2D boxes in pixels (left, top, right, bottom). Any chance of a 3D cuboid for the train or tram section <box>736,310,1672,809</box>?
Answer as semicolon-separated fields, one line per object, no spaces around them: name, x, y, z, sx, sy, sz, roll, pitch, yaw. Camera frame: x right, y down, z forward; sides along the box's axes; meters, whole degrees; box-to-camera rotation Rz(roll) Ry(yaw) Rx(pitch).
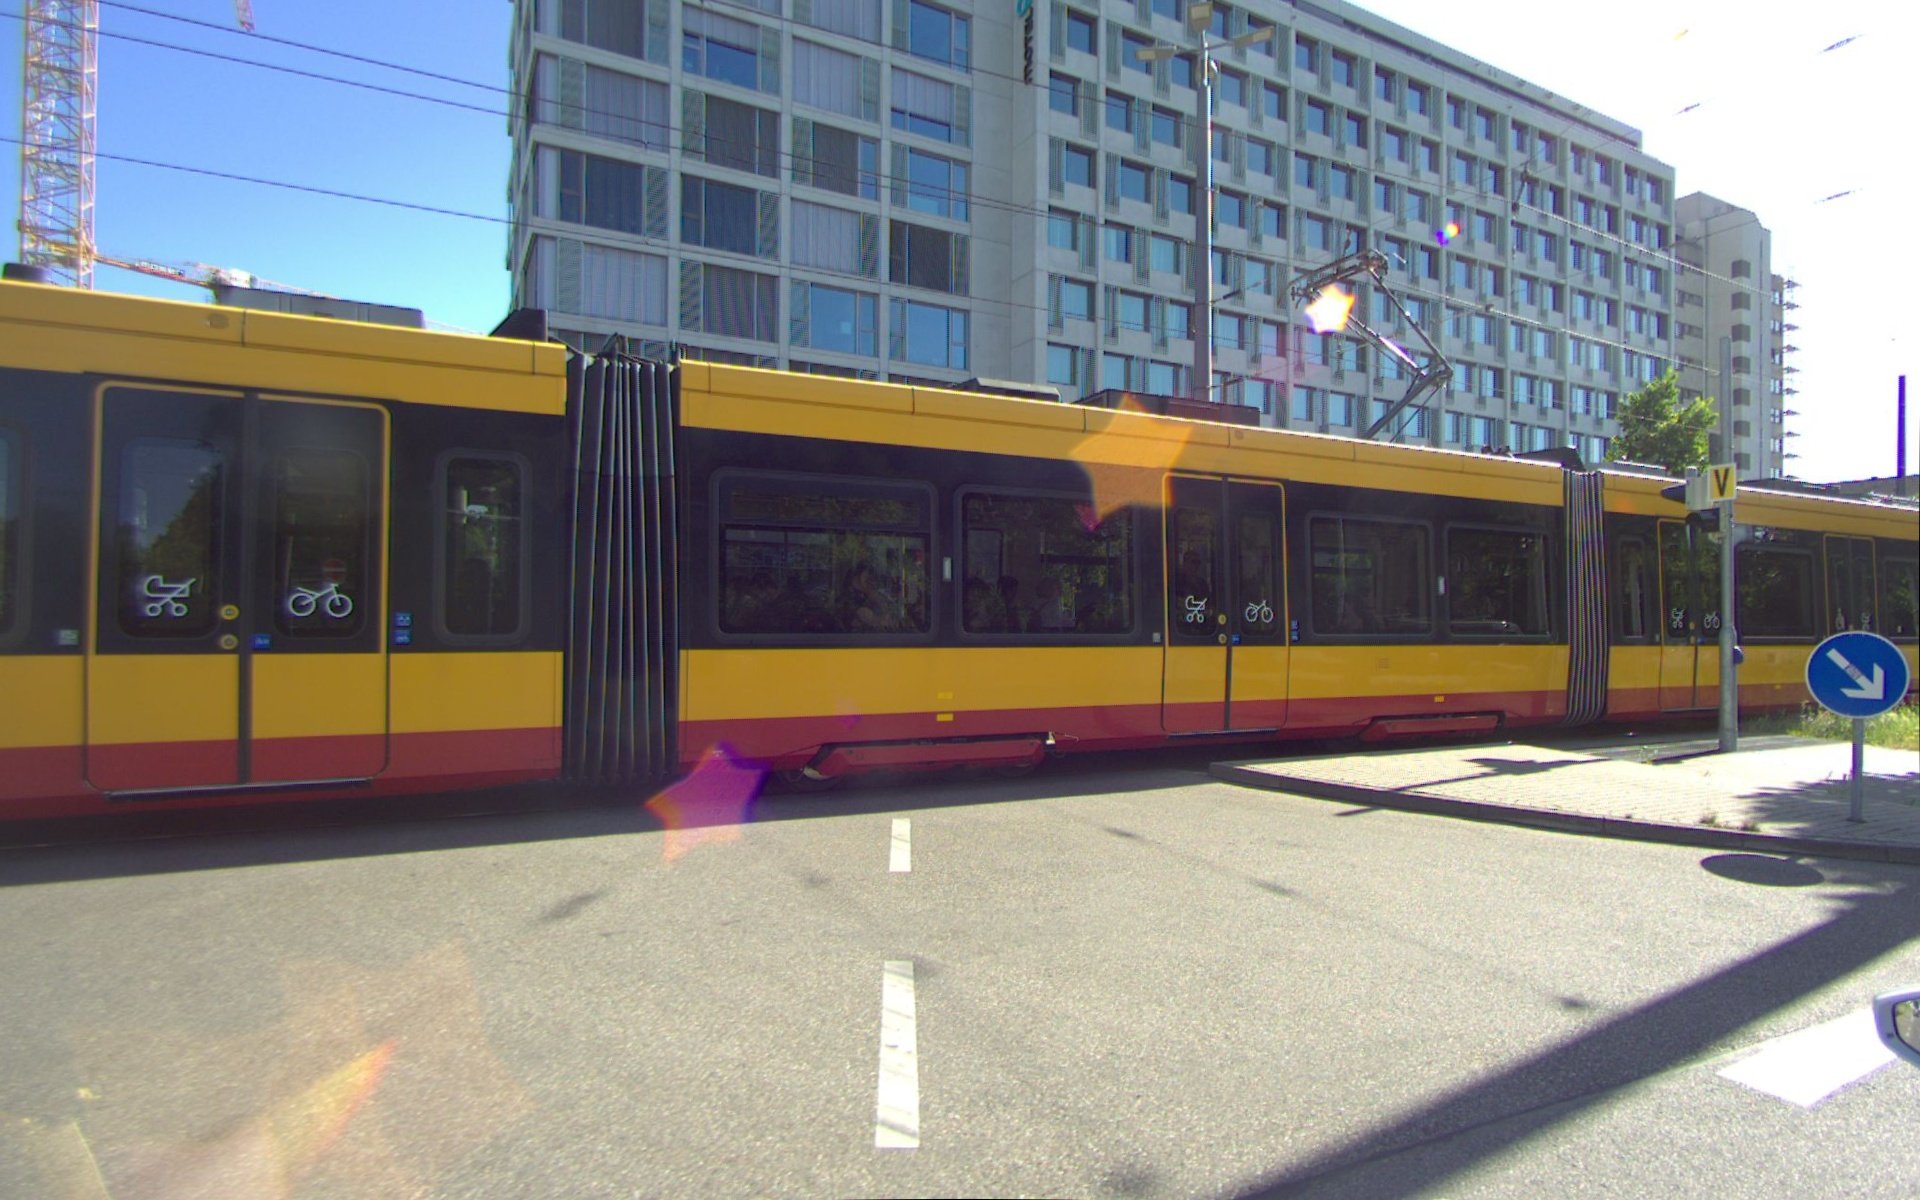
train or tram section;3.390;-0.168;10.885;11.168;3.718;1.987;2;0;-26

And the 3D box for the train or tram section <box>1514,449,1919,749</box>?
train or tram section;13.484;0.126;15.927;11.530;3.718;1.987;2;0;-27

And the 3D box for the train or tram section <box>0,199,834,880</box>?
train or tram section;-7.673;-0.384;5.389;13.965;3.718;1.987;2;0;-26
